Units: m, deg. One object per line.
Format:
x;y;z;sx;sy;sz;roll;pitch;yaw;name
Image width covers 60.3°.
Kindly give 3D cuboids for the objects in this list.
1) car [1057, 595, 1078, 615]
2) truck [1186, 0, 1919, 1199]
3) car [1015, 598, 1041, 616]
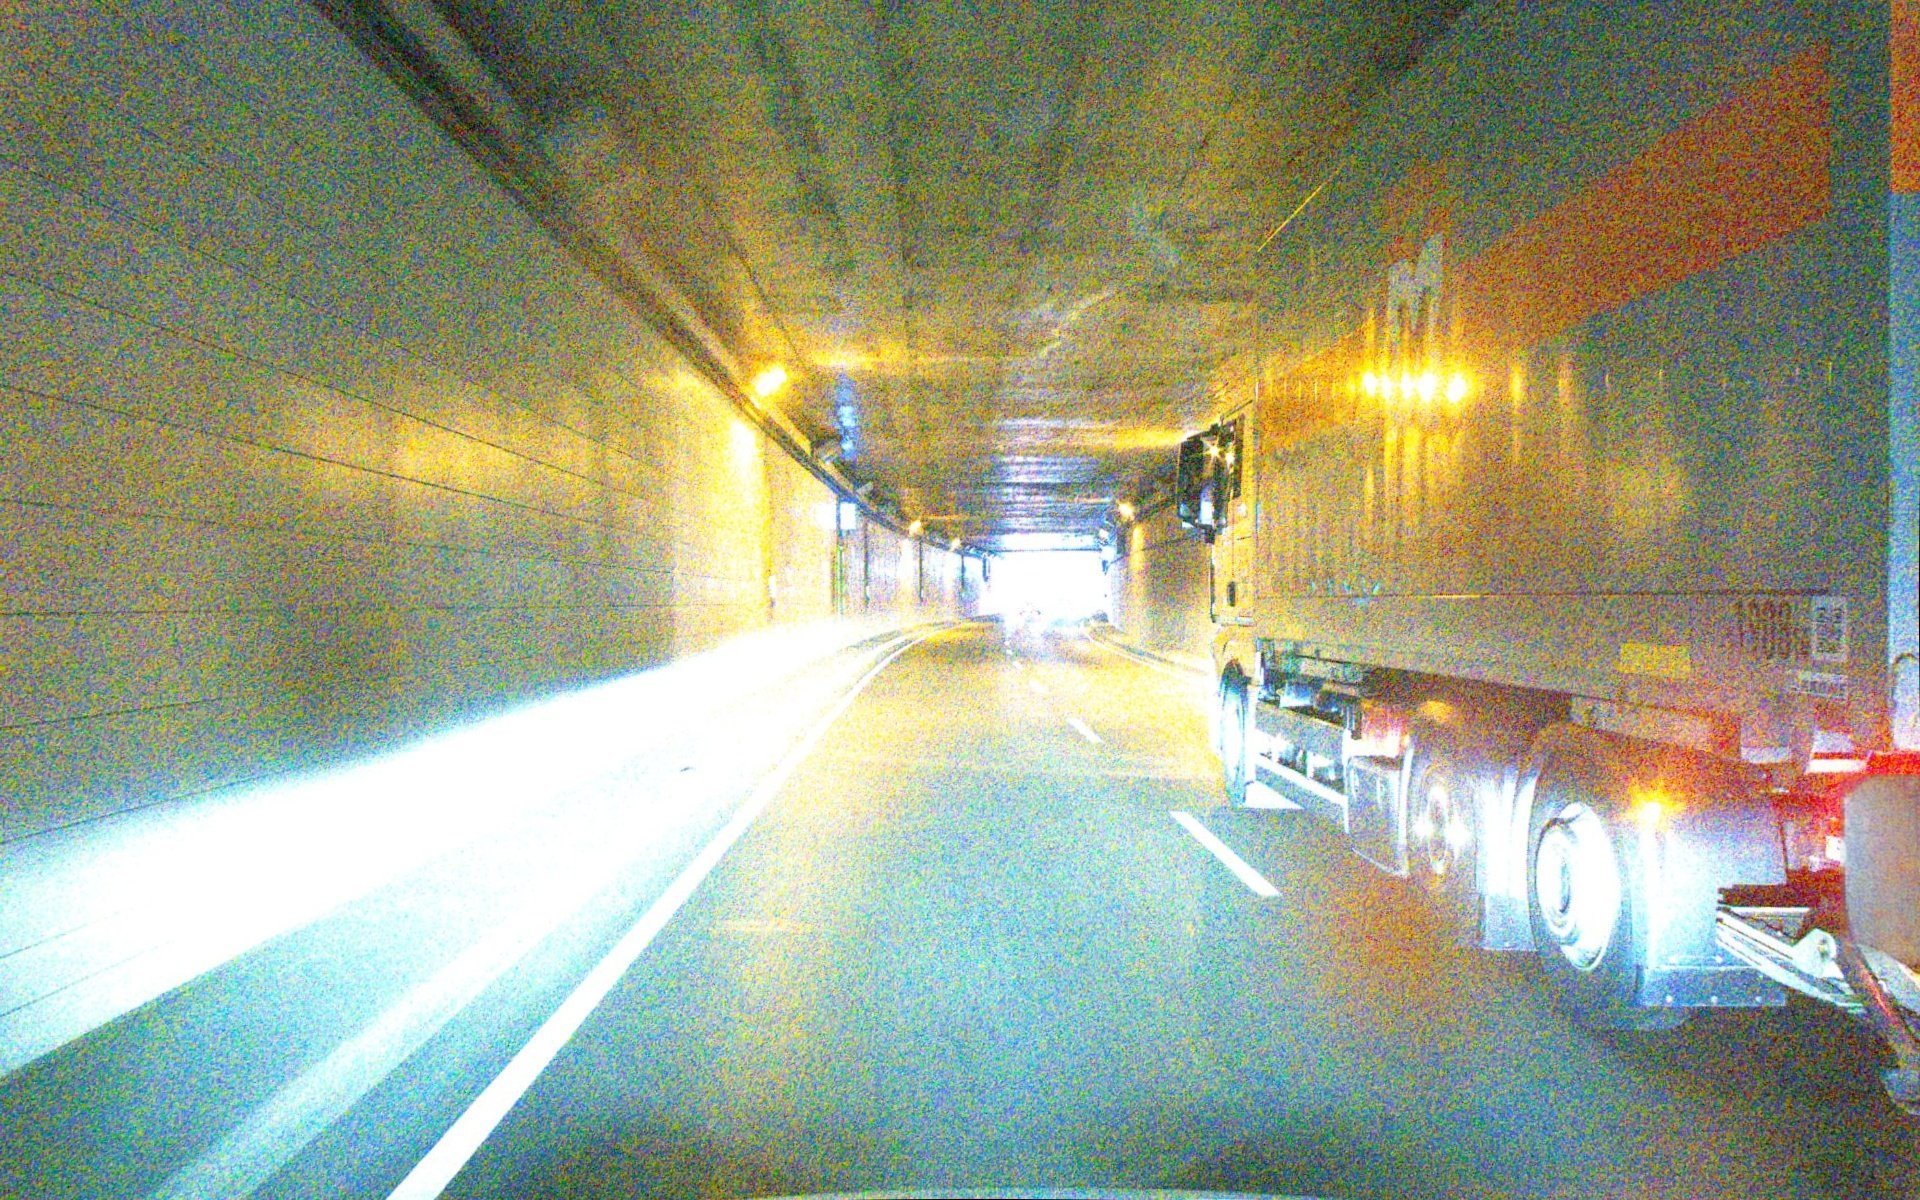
9.799;0.461;150.601;1.830;1.763;4.002;0;0;5;car
3.410;-0.540;8.692;2.830;3.982;9.906;0;0;-2;truck
5.441;0.563;131.412;1.802;1.413;4.003;0;0;6;car
